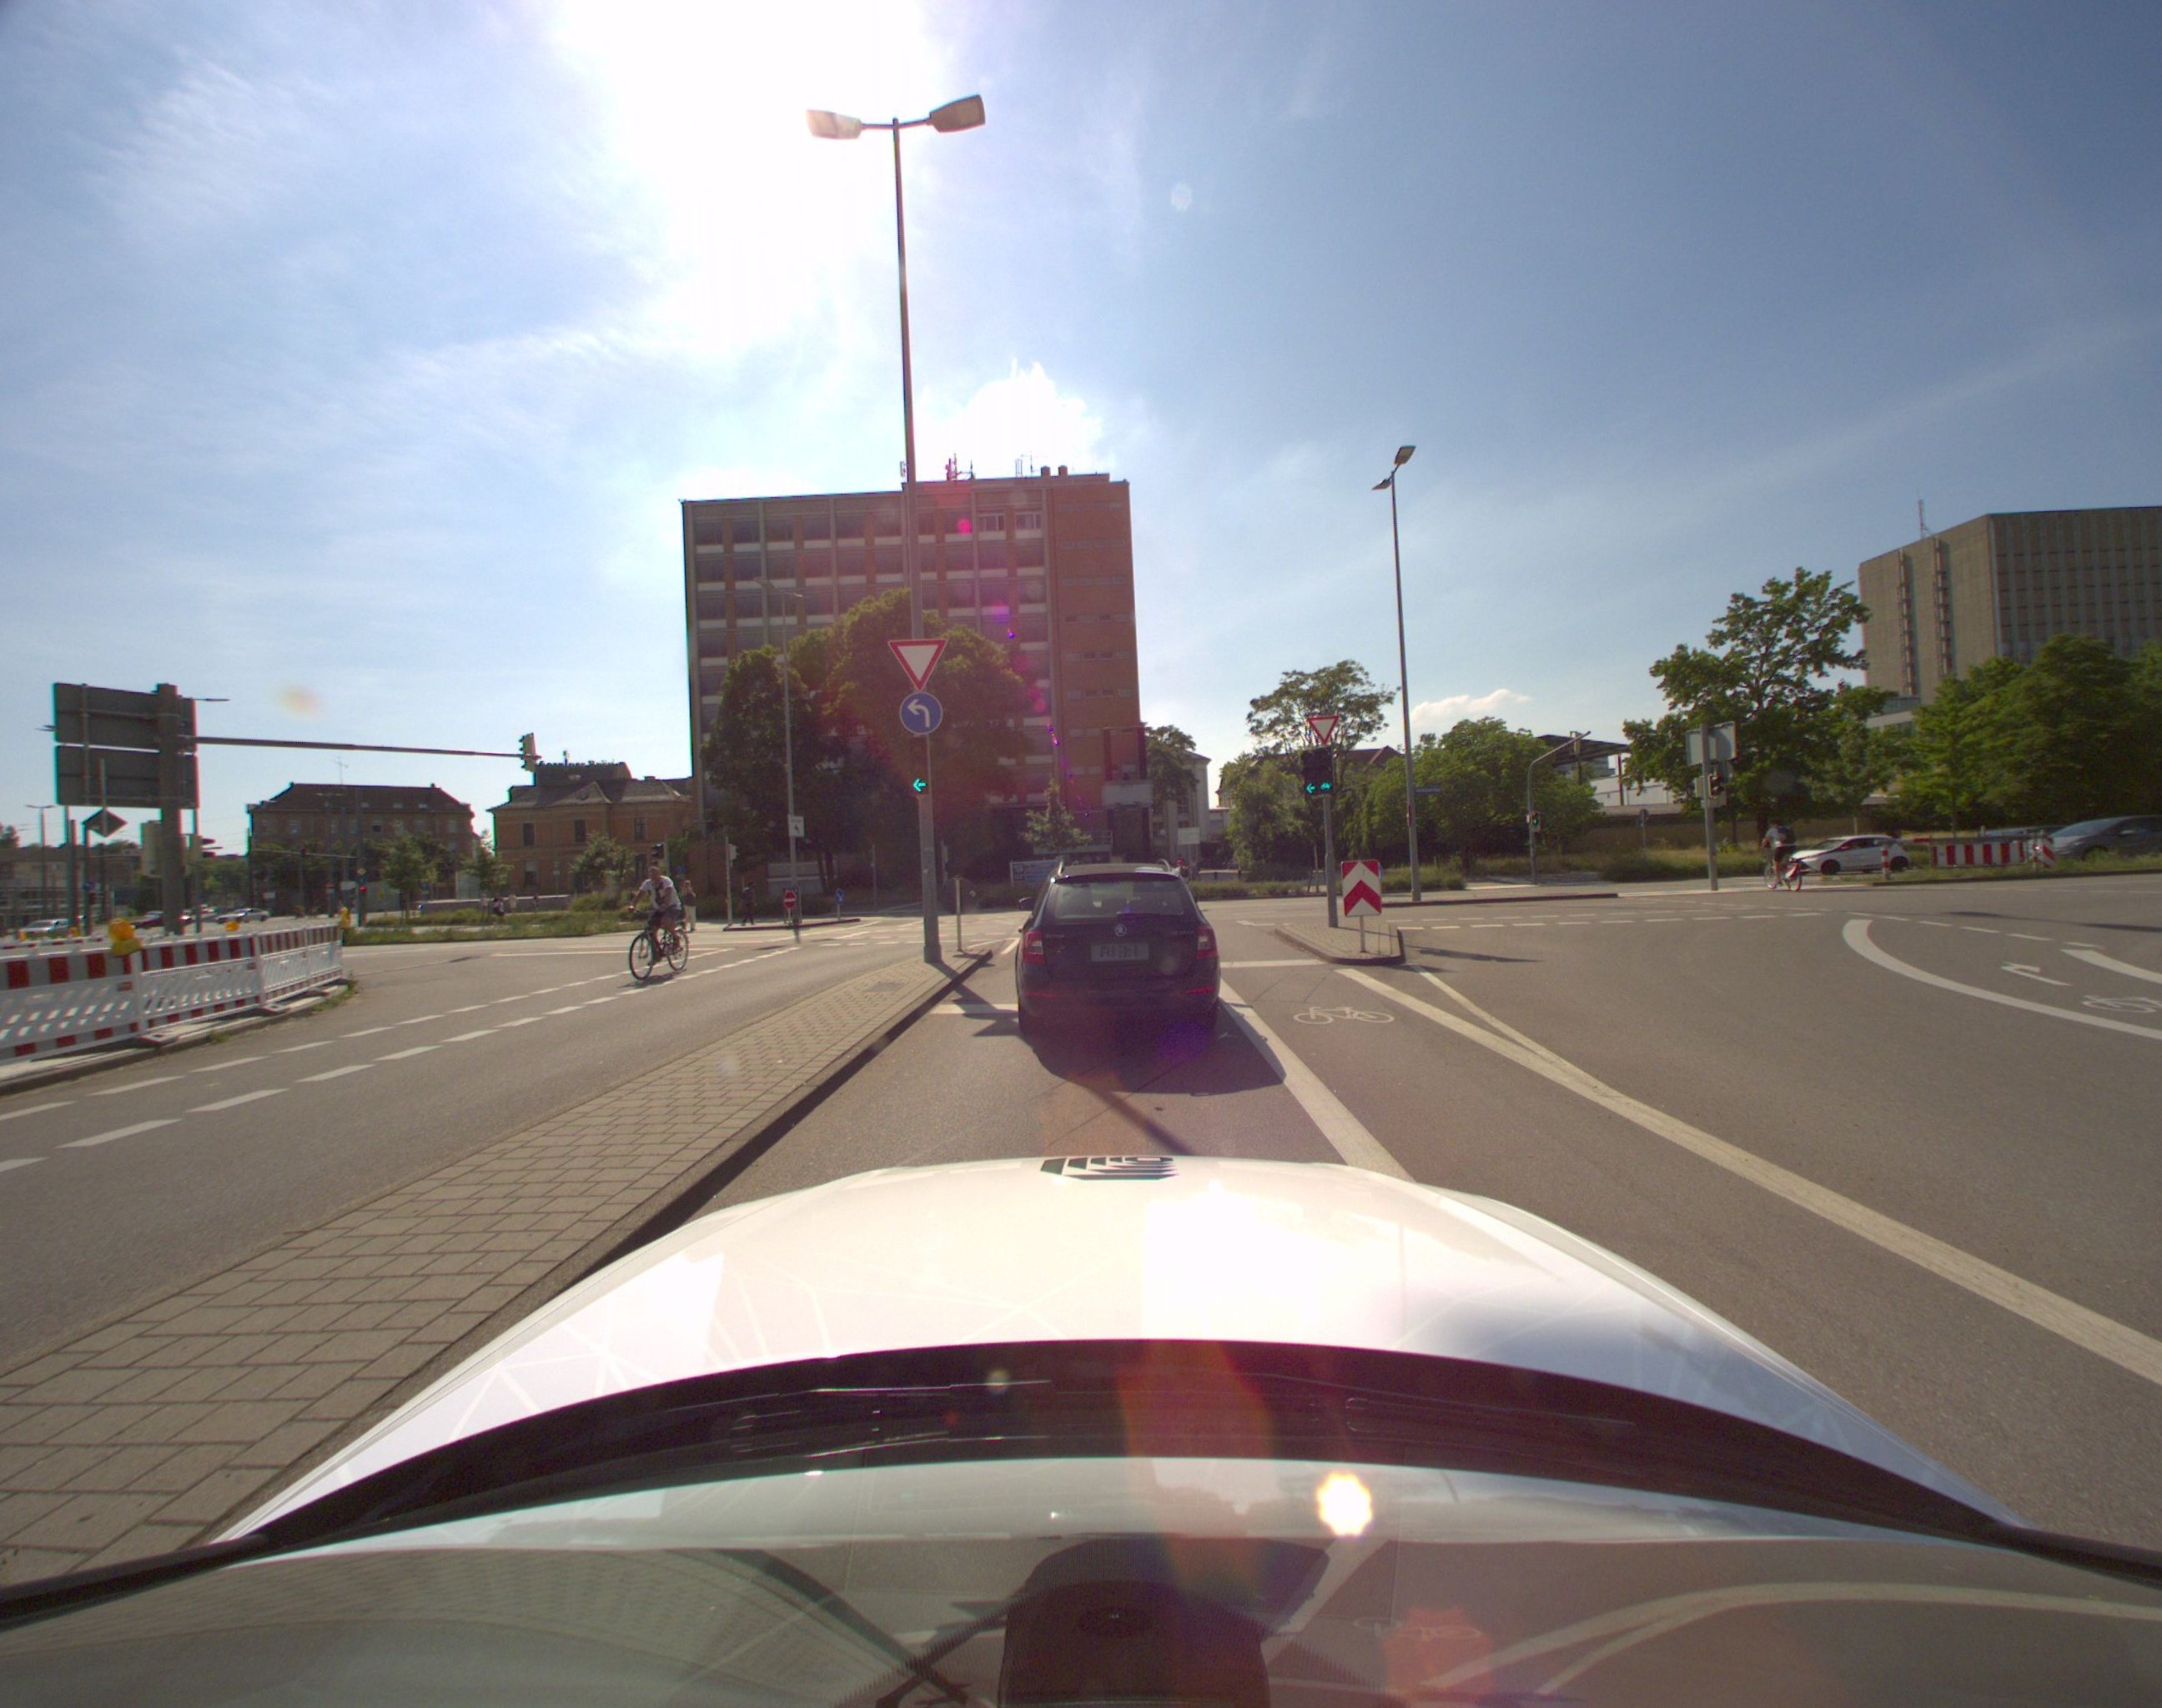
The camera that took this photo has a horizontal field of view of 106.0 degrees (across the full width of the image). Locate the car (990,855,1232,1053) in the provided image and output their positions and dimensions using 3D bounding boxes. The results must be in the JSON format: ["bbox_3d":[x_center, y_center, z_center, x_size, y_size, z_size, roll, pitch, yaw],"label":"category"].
[{"bbox_3d":[0.299,0.760,7.976,1.773,1.443,3.820,-1,0,2],"label":"car"}]

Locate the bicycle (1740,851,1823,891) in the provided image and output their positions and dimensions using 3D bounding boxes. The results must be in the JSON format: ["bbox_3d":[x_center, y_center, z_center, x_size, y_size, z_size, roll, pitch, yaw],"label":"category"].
[{"bbox_3d":[17.572,0.398,20.499,0.667,0.916,2.178,-3,-1,15],"label":"bicycle"}]

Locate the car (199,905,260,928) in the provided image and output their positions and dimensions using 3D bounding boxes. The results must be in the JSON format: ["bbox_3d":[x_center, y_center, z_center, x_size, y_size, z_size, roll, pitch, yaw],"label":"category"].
[{"bbox_3d":[-88.520,6.489,84.736,1.986,2.013,4.001,-3,-1,2],"label":"car"}]

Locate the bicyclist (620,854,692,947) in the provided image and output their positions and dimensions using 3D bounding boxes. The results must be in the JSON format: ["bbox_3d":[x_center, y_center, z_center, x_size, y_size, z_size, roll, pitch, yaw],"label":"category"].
[{"bbox_3d":[-6.844,0.731,13.160,0.537,1.417,1.030,-4,-2,0],"label":"bicyclist"}]

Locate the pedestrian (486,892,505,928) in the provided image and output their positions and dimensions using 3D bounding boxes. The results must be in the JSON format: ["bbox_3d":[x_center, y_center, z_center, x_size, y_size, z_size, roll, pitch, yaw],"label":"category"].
[{"bbox_3d":[-34.314,3.272,47.713,0.624,2.013,0.522,-3,-1,-3],"label":"pedestrian"}]

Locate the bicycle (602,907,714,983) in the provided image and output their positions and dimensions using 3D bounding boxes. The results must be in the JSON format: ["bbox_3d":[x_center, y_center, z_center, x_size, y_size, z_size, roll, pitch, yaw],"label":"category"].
[{"bbox_3d":[-6.791,1.433,13.216,0.702,0.977,2.030,-3,-1,0],"label":"bicycle"}]

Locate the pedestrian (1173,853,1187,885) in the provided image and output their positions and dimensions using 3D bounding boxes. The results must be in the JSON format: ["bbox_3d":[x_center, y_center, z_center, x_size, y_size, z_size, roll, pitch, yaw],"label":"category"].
[{"bbox_3d":[5.959,0.878,48.988,0.591,1.874,0.642,-4,-1,25],"label":"pedestrian"}]

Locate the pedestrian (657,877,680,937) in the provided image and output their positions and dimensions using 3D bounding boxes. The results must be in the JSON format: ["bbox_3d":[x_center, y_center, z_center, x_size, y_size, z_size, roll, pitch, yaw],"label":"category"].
[{"bbox_3d":[-14.266,1.811,28.183,0.618,2.014,0.679,0,-2,-36],"label":"pedestrian"}]

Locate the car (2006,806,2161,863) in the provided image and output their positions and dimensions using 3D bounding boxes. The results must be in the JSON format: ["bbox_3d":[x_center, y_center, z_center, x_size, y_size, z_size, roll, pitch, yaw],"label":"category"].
[{"bbox_3d":[29.691,-0.583,23.339,4.074,1.406,1.642,-3,-2,7],"label":"car"}]

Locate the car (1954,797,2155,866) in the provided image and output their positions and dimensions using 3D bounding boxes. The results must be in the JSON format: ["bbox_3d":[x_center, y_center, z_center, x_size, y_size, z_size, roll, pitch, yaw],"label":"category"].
[{"bbox_3d":[32.790,-0.705,27.560,3.966,2.014,2.004,-3,-2,7],"label":"car"}]

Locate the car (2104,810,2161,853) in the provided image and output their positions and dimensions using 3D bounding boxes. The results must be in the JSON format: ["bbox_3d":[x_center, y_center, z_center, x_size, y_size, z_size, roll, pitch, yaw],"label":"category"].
[{"bbox_3d":[41.720,-0.924,30.513,4.294,1.569,1.911,-3,0,1],"label":"car"}]

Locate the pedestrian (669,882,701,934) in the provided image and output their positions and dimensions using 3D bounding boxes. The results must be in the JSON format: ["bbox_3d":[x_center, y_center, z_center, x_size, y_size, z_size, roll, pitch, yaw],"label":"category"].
[{"bbox_3d":[-14.032,1.905,28.908,0.737,1.752,1.105,-3,-3,-14],"label":"pedestrian"}]

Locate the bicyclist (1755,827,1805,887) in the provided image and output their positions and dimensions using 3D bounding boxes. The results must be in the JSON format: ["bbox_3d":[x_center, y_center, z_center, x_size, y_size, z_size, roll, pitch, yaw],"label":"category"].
[{"bbox_3d":[17.676,0.081,20.616,0.491,1.470,1.147,-1,-2,15],"label":"bicyclist"}]

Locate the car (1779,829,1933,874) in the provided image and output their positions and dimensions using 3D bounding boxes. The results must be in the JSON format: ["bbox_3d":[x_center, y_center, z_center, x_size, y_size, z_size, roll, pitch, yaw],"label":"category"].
[{"bbox_3d":[29.760,-0.097,31.380,3.972,1.464,2.001,-3,0,1],"label":"car"}]

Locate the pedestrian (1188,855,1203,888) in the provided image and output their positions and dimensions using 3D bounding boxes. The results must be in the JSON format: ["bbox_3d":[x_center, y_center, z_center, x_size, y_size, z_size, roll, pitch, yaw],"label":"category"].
[{"bbox_3d":[6.738,1.002,47.971,0.634,1.874,0.797,-4,0,1],"label":"pedestrian"}]

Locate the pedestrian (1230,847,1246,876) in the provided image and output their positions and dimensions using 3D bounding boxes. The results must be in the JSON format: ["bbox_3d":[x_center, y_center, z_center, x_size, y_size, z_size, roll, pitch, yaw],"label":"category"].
[{"bbox_3d":[10.428,0.483,54.128,0.787,1.874,0.642,-5,0,23],"label":"pedestrian"}]

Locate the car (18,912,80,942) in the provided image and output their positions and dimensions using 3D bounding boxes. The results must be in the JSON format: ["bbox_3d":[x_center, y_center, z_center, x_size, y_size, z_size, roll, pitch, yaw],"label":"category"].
[{"bbox_3d":[-80.217,5.660,63.372,2.009,2.013,3.955,-3,-1,-37],"label":"car"}]

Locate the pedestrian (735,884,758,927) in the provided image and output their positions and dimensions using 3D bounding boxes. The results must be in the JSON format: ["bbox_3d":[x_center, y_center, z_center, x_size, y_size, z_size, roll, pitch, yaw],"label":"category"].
[{"bbox_3d":[-12.392,1.898,30.164,0.632,1.491,0.614,-3,-1,-15],"label":"pedestrian"}]

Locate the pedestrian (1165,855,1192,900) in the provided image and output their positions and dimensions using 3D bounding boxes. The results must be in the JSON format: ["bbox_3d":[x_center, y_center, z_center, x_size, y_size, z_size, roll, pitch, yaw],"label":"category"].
[{"bbox_3d":[3.235,0.767,27.071,0.583,1.466,1.009,-1,-1,-12],"label":"pedestrian"}]

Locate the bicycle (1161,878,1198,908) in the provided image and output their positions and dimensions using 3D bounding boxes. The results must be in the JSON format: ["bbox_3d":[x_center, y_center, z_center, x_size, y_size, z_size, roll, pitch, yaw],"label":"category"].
[{"bbox_3d":[3.250,1.282,27.056,0.596,0.931,2.020,-1,-2,-11],"label":"bicycle"}]
